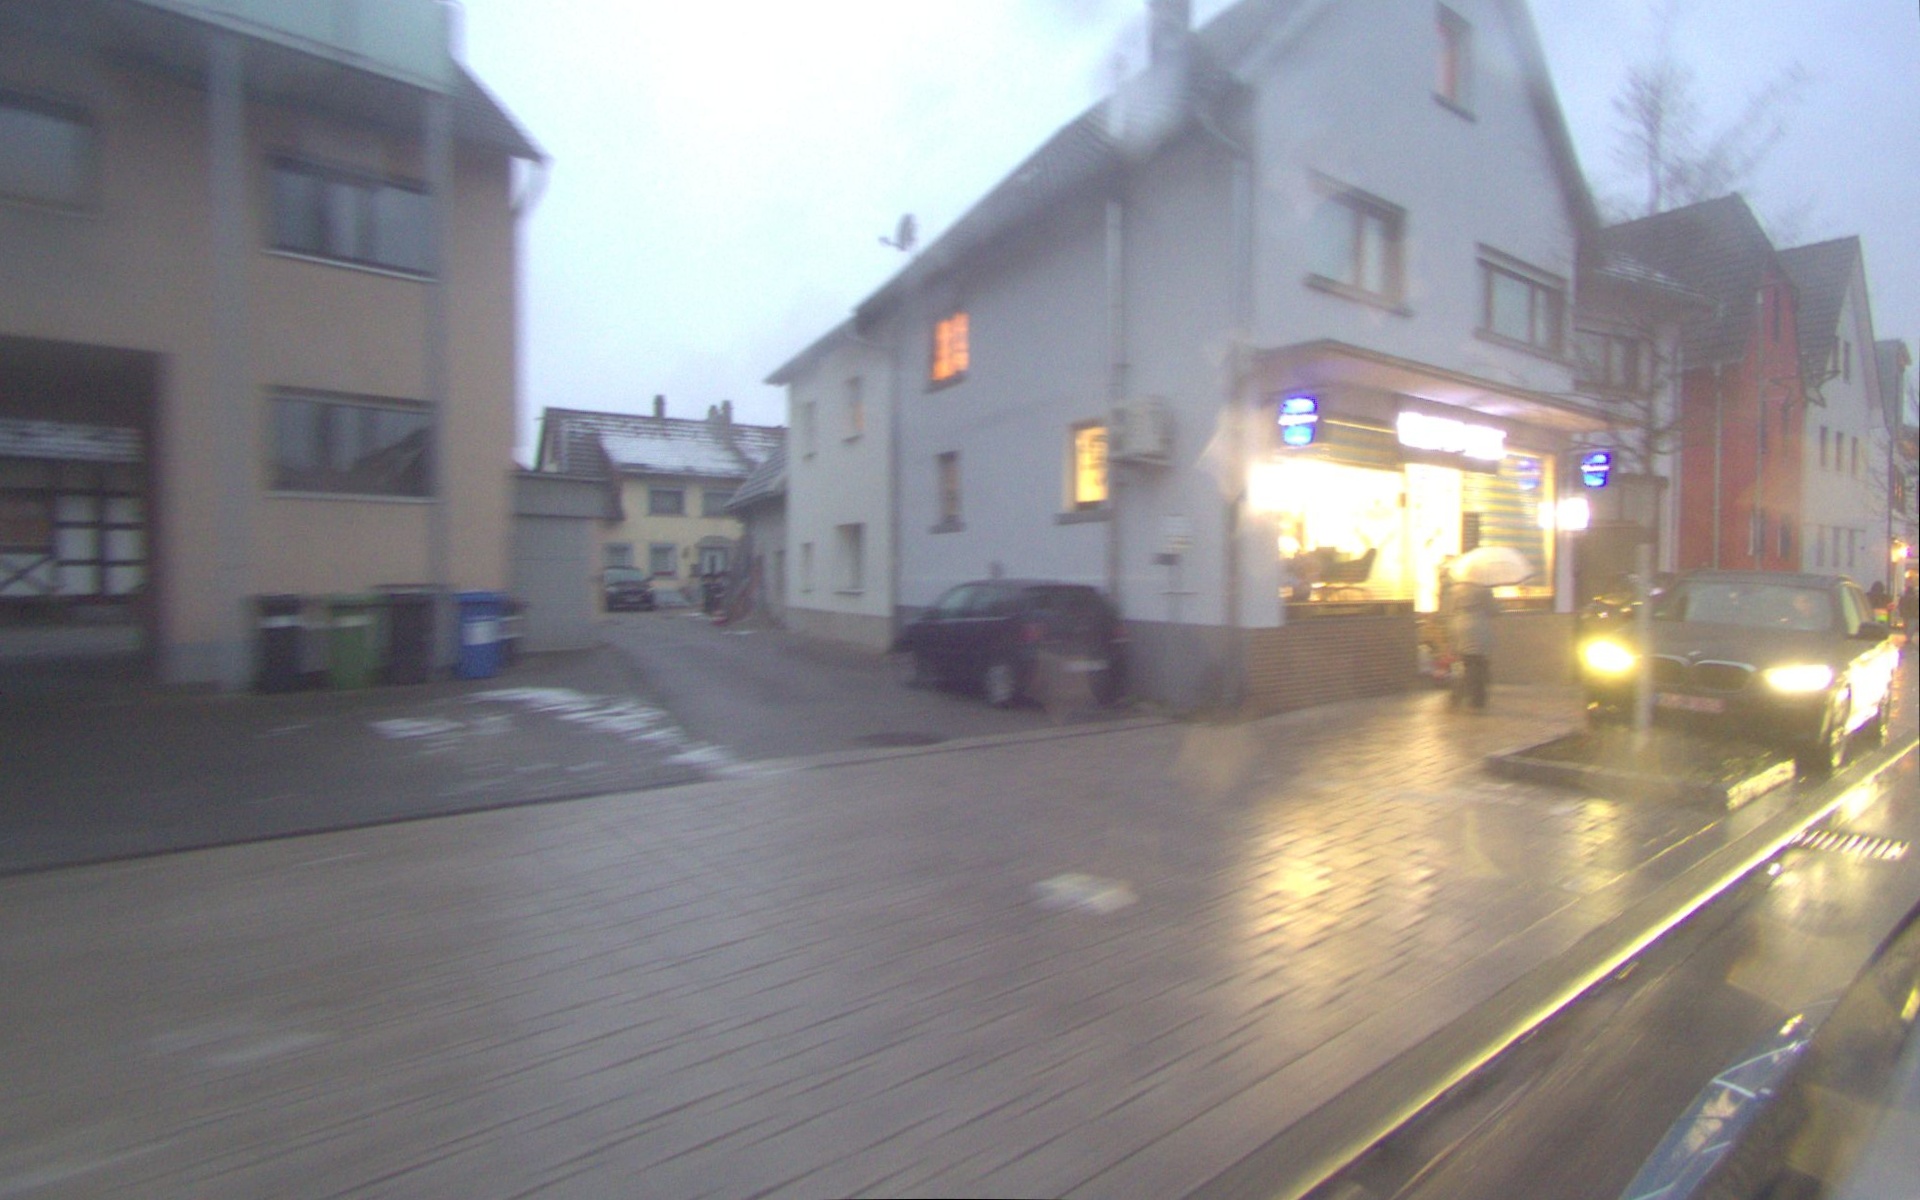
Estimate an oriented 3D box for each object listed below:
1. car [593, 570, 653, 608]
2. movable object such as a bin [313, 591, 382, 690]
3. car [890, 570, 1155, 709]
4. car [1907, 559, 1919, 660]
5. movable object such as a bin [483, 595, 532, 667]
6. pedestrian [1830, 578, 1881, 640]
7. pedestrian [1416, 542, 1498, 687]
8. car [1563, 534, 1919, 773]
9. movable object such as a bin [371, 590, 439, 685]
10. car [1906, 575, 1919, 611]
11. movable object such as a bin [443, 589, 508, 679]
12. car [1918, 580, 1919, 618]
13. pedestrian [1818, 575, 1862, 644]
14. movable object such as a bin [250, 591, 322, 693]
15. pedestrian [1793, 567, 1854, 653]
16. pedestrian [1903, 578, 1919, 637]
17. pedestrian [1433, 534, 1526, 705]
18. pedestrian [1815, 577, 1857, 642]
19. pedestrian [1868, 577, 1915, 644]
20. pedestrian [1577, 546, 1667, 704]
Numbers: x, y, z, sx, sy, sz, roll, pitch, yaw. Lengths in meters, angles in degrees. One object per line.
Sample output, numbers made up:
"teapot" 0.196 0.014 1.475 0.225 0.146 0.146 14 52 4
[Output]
"car" -12.061 -0.409 36.091 1.599 1.240 3.753 1 1 -25
"movable object such as a bin" -6.915 0.438 11.411 0.534 1.053 0.728 0 1 -42
"car" 0.628 0.379 12.670 1.627 1.403 3.567 1 2 -29
"car" 21.357 0.254 21.249 3.742 2.038 1.747 1 3 -42
"movable object such as a bin" -6.158 0.409 13.764 0.416 0.937 0.671 0 1 -42
"pedestrian" 25.814 0.251 29.161 1.008 1.745 0.973 0 0 -40
"pedestrian" 6.184 0.167 12.601 0.638 1.742 0.610 1 2 -35
"car" 7.795 0.369 9.885 4.441 1.806 1.997 0 2 -41
"movable object such as a bin" -6.506 0.418 11.855 0.534 1.053 0.728 0 1 -42
"car" 55.959 -0.370 57.496 1.980 2.038 4.269 2 1 26
"movable object such as a bin" -5.982 0.398 12.493 0.534 1.053 0.728 0 1 -42
"car" 46.221 -0.005 47.339 1.774 1.838 3.942 2 2 40
"pedestrian" 21.245 0.221 24.436 0.710 1.625 0.656 0 1 -38
"movable object such as a bin" -7.412 0.440 11.119 0.552 1.053 0.728 0 1 -42
"pedestrian" 18.589 0.190 21.790 1.041 1.786 0.819 0 1 -41
"pedestrian" 28.984 0.225 30.390 0.913 1.745 0.859 0 0 -40
"pedestrian" 5.719 0.201 11.154 0.498 1.819 0.652 2 2 -29
"pedestrian" 22.484 0.240 25.968 0.710 1.625 0.656 0 1 -38
"pedestrian" 23.226 0.243 25.228 0.710 1.625 0.731 0 1 -38
"pedestrian" 7.610 0.267 11.642 0.459 1.742 0.651 1 2 -35
